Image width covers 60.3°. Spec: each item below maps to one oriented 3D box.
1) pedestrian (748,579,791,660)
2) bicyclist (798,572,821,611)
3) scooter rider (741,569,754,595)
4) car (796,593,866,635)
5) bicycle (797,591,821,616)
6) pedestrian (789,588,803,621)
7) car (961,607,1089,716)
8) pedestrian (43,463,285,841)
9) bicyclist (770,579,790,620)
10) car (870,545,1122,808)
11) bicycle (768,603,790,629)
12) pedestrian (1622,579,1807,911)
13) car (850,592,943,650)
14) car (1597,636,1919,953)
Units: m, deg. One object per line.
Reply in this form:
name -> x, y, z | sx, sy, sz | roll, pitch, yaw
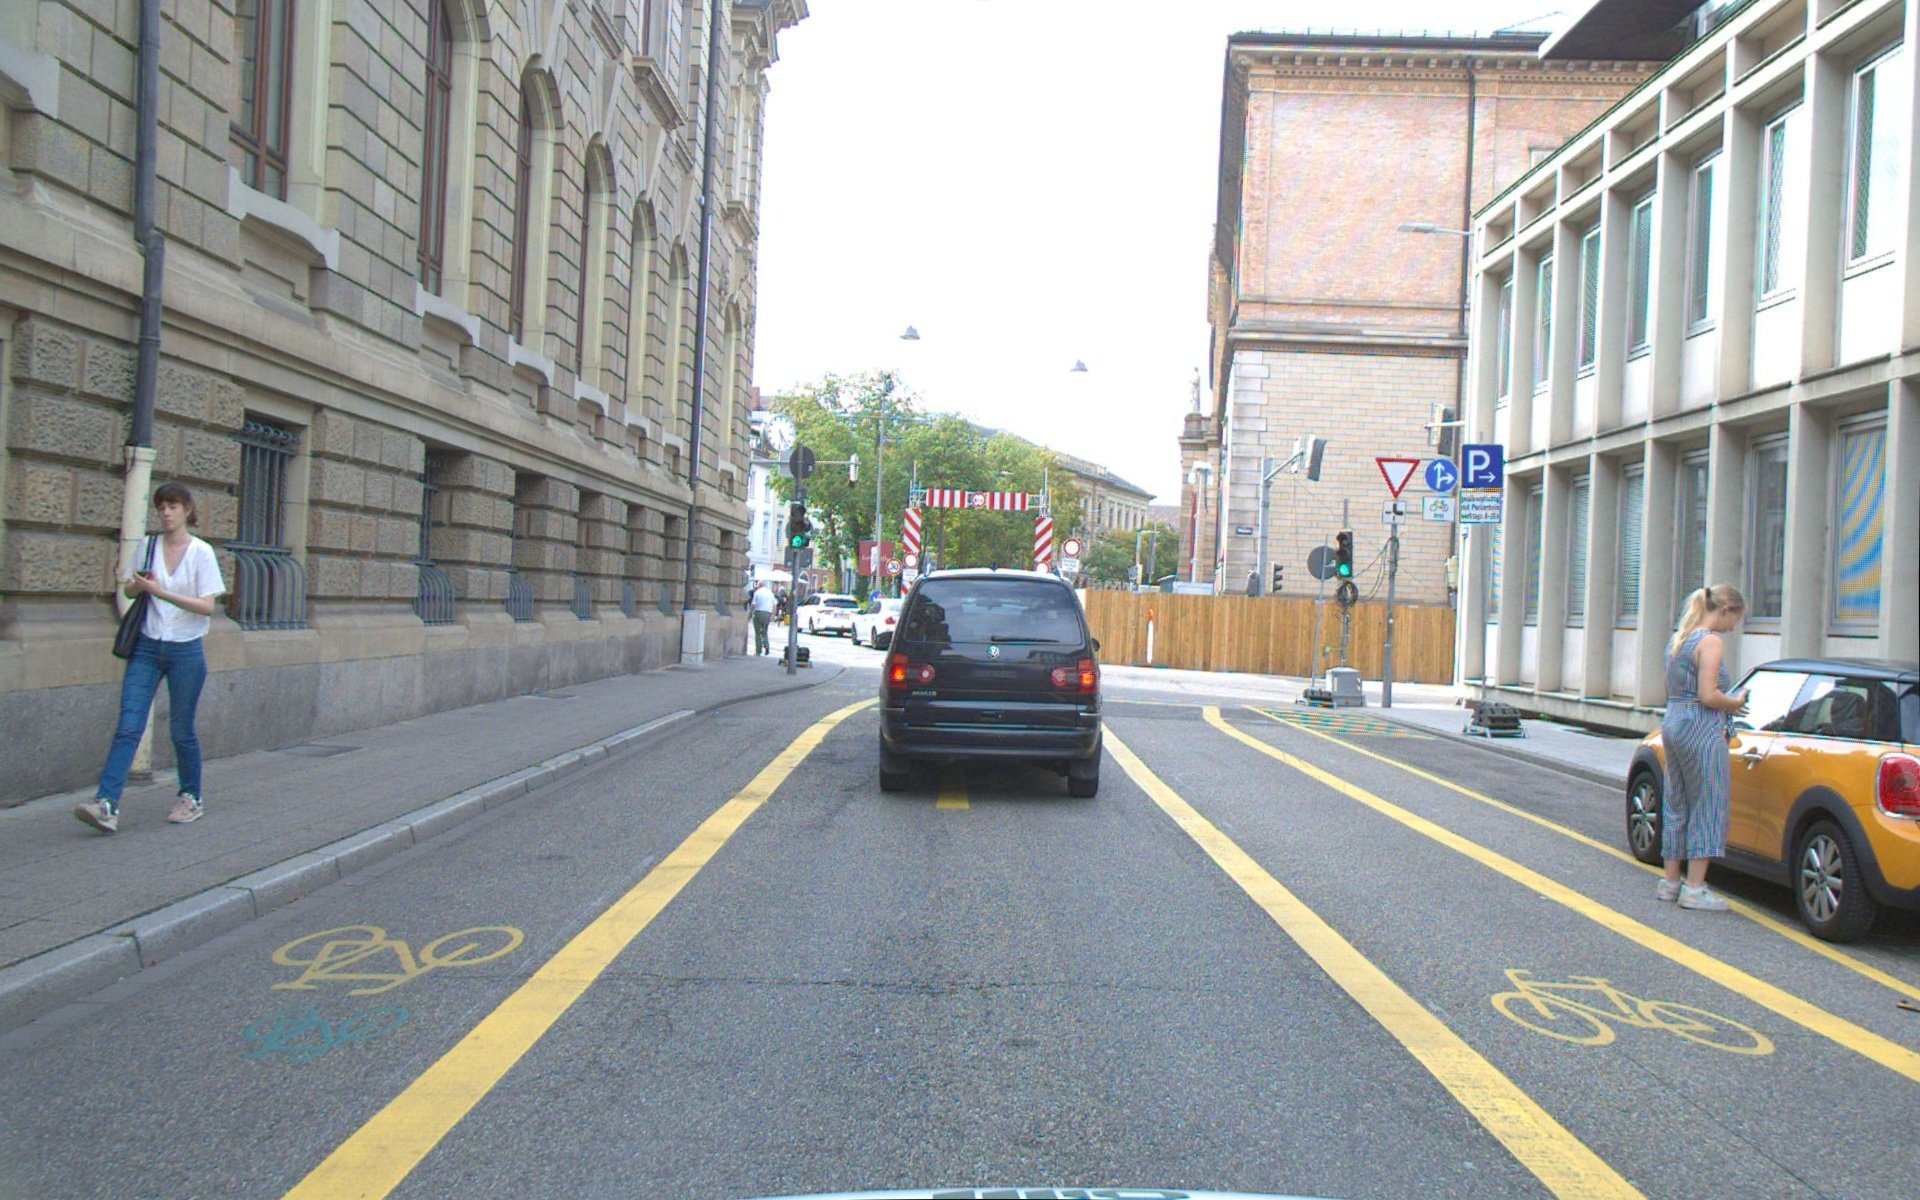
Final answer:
pedestrian -> -4.537, 0.449, 39.292 | 0.778, 1.851, 1.044 | 4, -1, -13
bicyclist -> -7.171, -0.398, 78.848 | 0.946, 1.813, 0.986 | 2, -1, -1
scooter rider -> -12.722, -1.063, 99.020 | 0.587, 1.516, 0.679 | 2, -1, 4
car -> -4.493, 0.470, 57.031 | 1.623, 1.344, 3.658 | 2, -1, -17
bicycle -> -7.190, 0.156, 78.880 | 0.946, 1.131, 2.789 | 2, -1, -1
pedestrian -> -10.468, 0.268, 105.566 | 0.678, 2.049, 0.580 | 3, -1, -34
car -> 0.942, 0.898, 25.864 | 1.644, 1.494, 4.101 | 3, 0, -2
pedestrian -> -4.209, 0.264, 8.830 | 0.650, 1.851, 1.048 | 4, -1, 0
bicyclist -> -7.369, -0.010, 67.697 | 0.722, 1.640, 0.693 | 2, -1, -11
car -> 0.349, 0.572, 14.050 | 1.752, 1.821, 4.104 | 3, 0, 2
bicycle -> -7.403, 0.638, 67.727 | 0.722, 1.026, 2.063 | 2, -1, -10
pedestrian -> 4.283, 0.797, 9.433 | 0.683, 1.794, 0.705 | 2, -1, 0
car -> -1.869, 0.584, 47.667 | 1.676, 1.527, 3.981 | 2, -1, -17
car -> 5.322, 1.015, 9.846 | 1.645, 1.460, 3.887 | 3, 0, 2
